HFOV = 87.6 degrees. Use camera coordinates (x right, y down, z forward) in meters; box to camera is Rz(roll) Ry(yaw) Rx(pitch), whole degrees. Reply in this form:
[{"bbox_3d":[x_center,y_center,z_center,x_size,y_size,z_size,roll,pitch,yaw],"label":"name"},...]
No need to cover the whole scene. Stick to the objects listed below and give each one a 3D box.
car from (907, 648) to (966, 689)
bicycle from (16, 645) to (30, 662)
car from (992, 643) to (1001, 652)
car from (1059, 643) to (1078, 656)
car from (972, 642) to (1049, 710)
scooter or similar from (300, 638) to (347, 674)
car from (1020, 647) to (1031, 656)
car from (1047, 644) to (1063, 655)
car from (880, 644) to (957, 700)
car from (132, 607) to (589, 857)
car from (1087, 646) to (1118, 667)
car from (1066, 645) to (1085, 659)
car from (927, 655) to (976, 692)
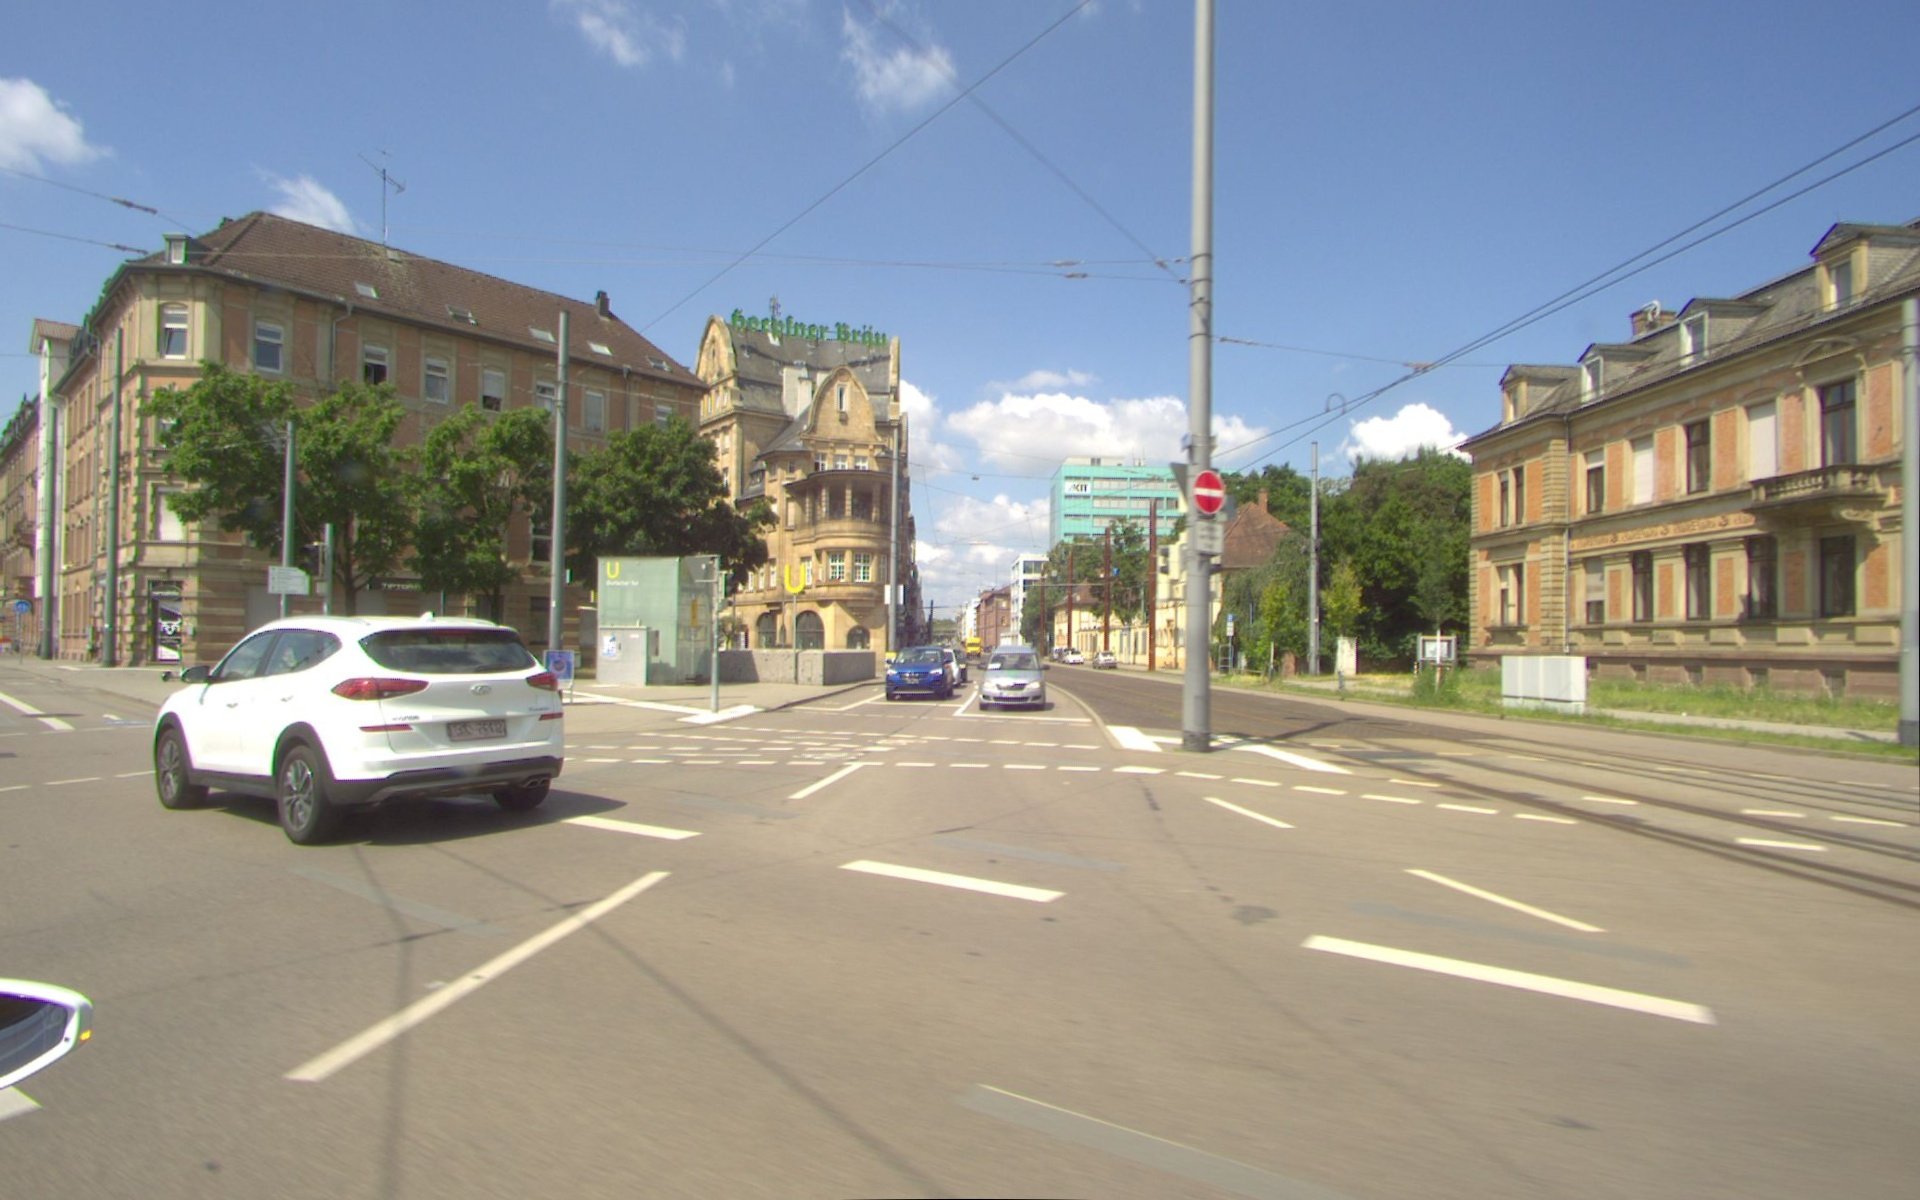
[{"bbox_3d":[-0.913,2.785,41.045,1.902,1.585,3.998,0,-3,6],"label":"car"},{"bbox_3d":[-63.609,3.622,67.956,2.182,1.193,0.583,-2,-2,44],"label":"bicycle"},{"bbox_3d":[8.546,11.125,235.457,1.961,2.039,4.002,1,-2,0],"label":"car"},{"bbox_3d":[12.324,5.652,113.916,1.648,1.404,3.798,1,-2,0],"label":"car"},{"bbox_3d":[1.347,1.904,25.926,1.838,1.607,4.430,0,-3,4],"label":"car"},{"bbox_3d":[-22.044,1.936,34.703,1.372,1.218,0.945,-2,-2,36],"label":"scooter or similar"},{"bbox_3d":[10.666,8.447,163.491,1.648,1.404,3.634,1,-2,0],"label":"car"},{"bbox_3d":[11.622,6.051,122.594,1.648,1.404,3.634,1,-2,0],"label":"car"},{"bbox_3d":[-1.216,2.202,31.320,1.838,1.570,4.429,-2,-3,5],"label":"car"},{"bbox_3d":[-5.252,0.943,8.611,4.125,1.654,1.848,-1,-3,35],"label":"car"},{"bbox_3d":[12.776,5.020,90.075,1.961,1.794,4.001,1,-2,-5],"label":"car"},{"bbox_3d":[12.559,5.630,108.921,1.648,1.404,3.798,1,-2,0],"label":"car"},{"bbox_3d":[-0.357,3.446,47.556,1.838,1.607,4.429,0,-3,6],"label":"car"}]
